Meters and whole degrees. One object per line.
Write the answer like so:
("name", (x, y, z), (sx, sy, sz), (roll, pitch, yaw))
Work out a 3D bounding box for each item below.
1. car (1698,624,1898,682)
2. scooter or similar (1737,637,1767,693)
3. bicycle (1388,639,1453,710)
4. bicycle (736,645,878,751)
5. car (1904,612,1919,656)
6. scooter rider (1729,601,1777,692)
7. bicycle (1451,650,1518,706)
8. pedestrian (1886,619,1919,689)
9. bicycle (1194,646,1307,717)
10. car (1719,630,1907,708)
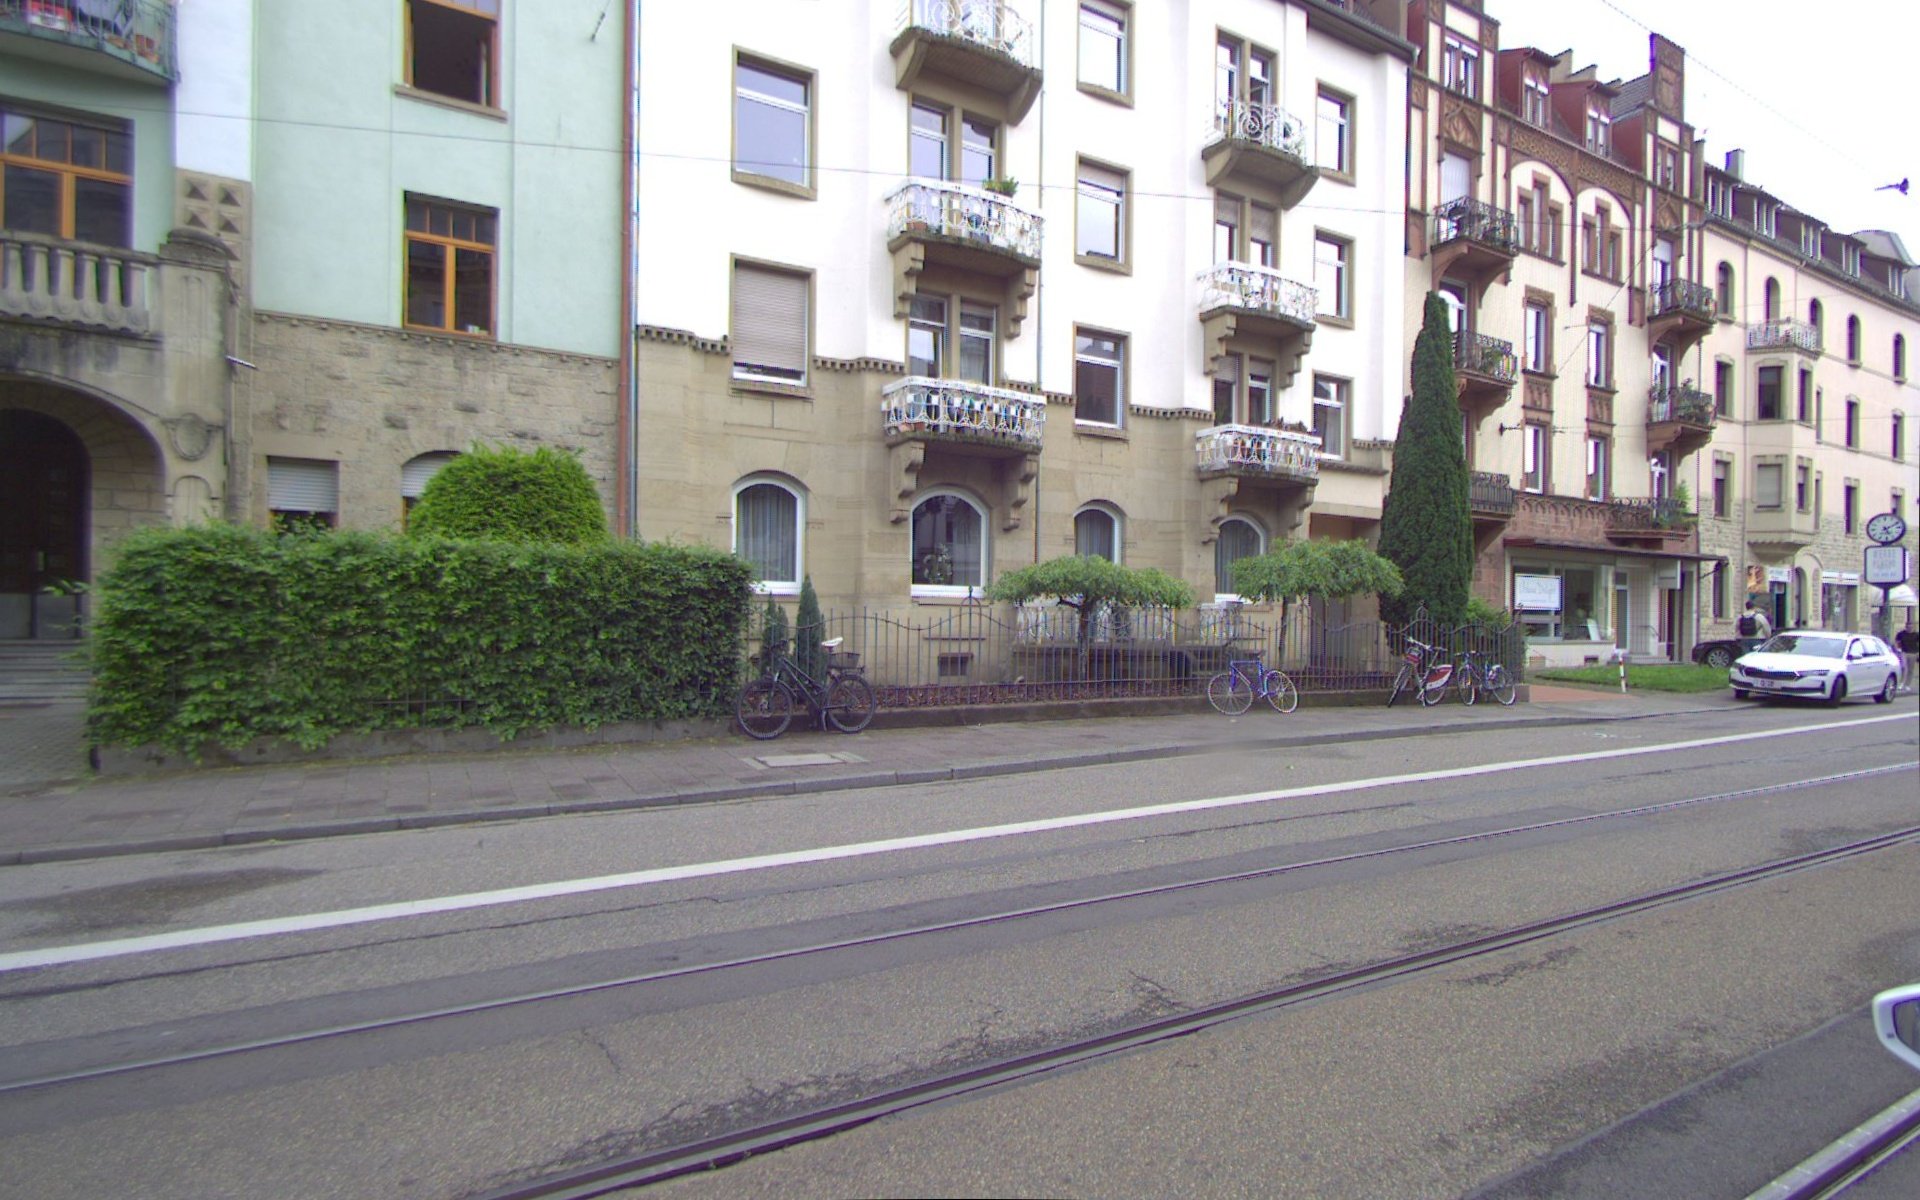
("car", (25.825, 1.579, 31.108), (1.861, 1.389, 4.397), (1, 2, -34))
("scooter or similar", (18.288, 1.488, 23.186), (0.942, 1.250, 0.230), (1, -1, -30))
("bicycle", (7.650, 1.210, 16.660), (1.613, 1.116, 0.381), (1, -1, -42))
("bicycle", (-1.677, 1.059, 11.123), (1.528, 1.098, 0.358), (1, -1, -31))
("car", (54.235, 1.897, 54.586), (2.142, 2.449, 5.382), (0, -1, 18))
("scooter rider", (18.330, 1.065, 23.226), (0.749, 2.040, 0.639), (1, -1, -30))
("bicycle", (9.385, 1.381, 17.953), (1.498, 0.950, 0.330), (1, -1, -31))
("pedestrian", (25.661, 1.455, 27.287), (0.660, 1.868, 0.878), (-1, -1, 39))
("bicycle", (4.310, 1.192, 14.861), (1.640, 0.938, 0.358), (0, -19, -28))
("car", (18.266, 1.405, 21.460), (4.557, 1.504, 1.738), (1, -1, -31))
